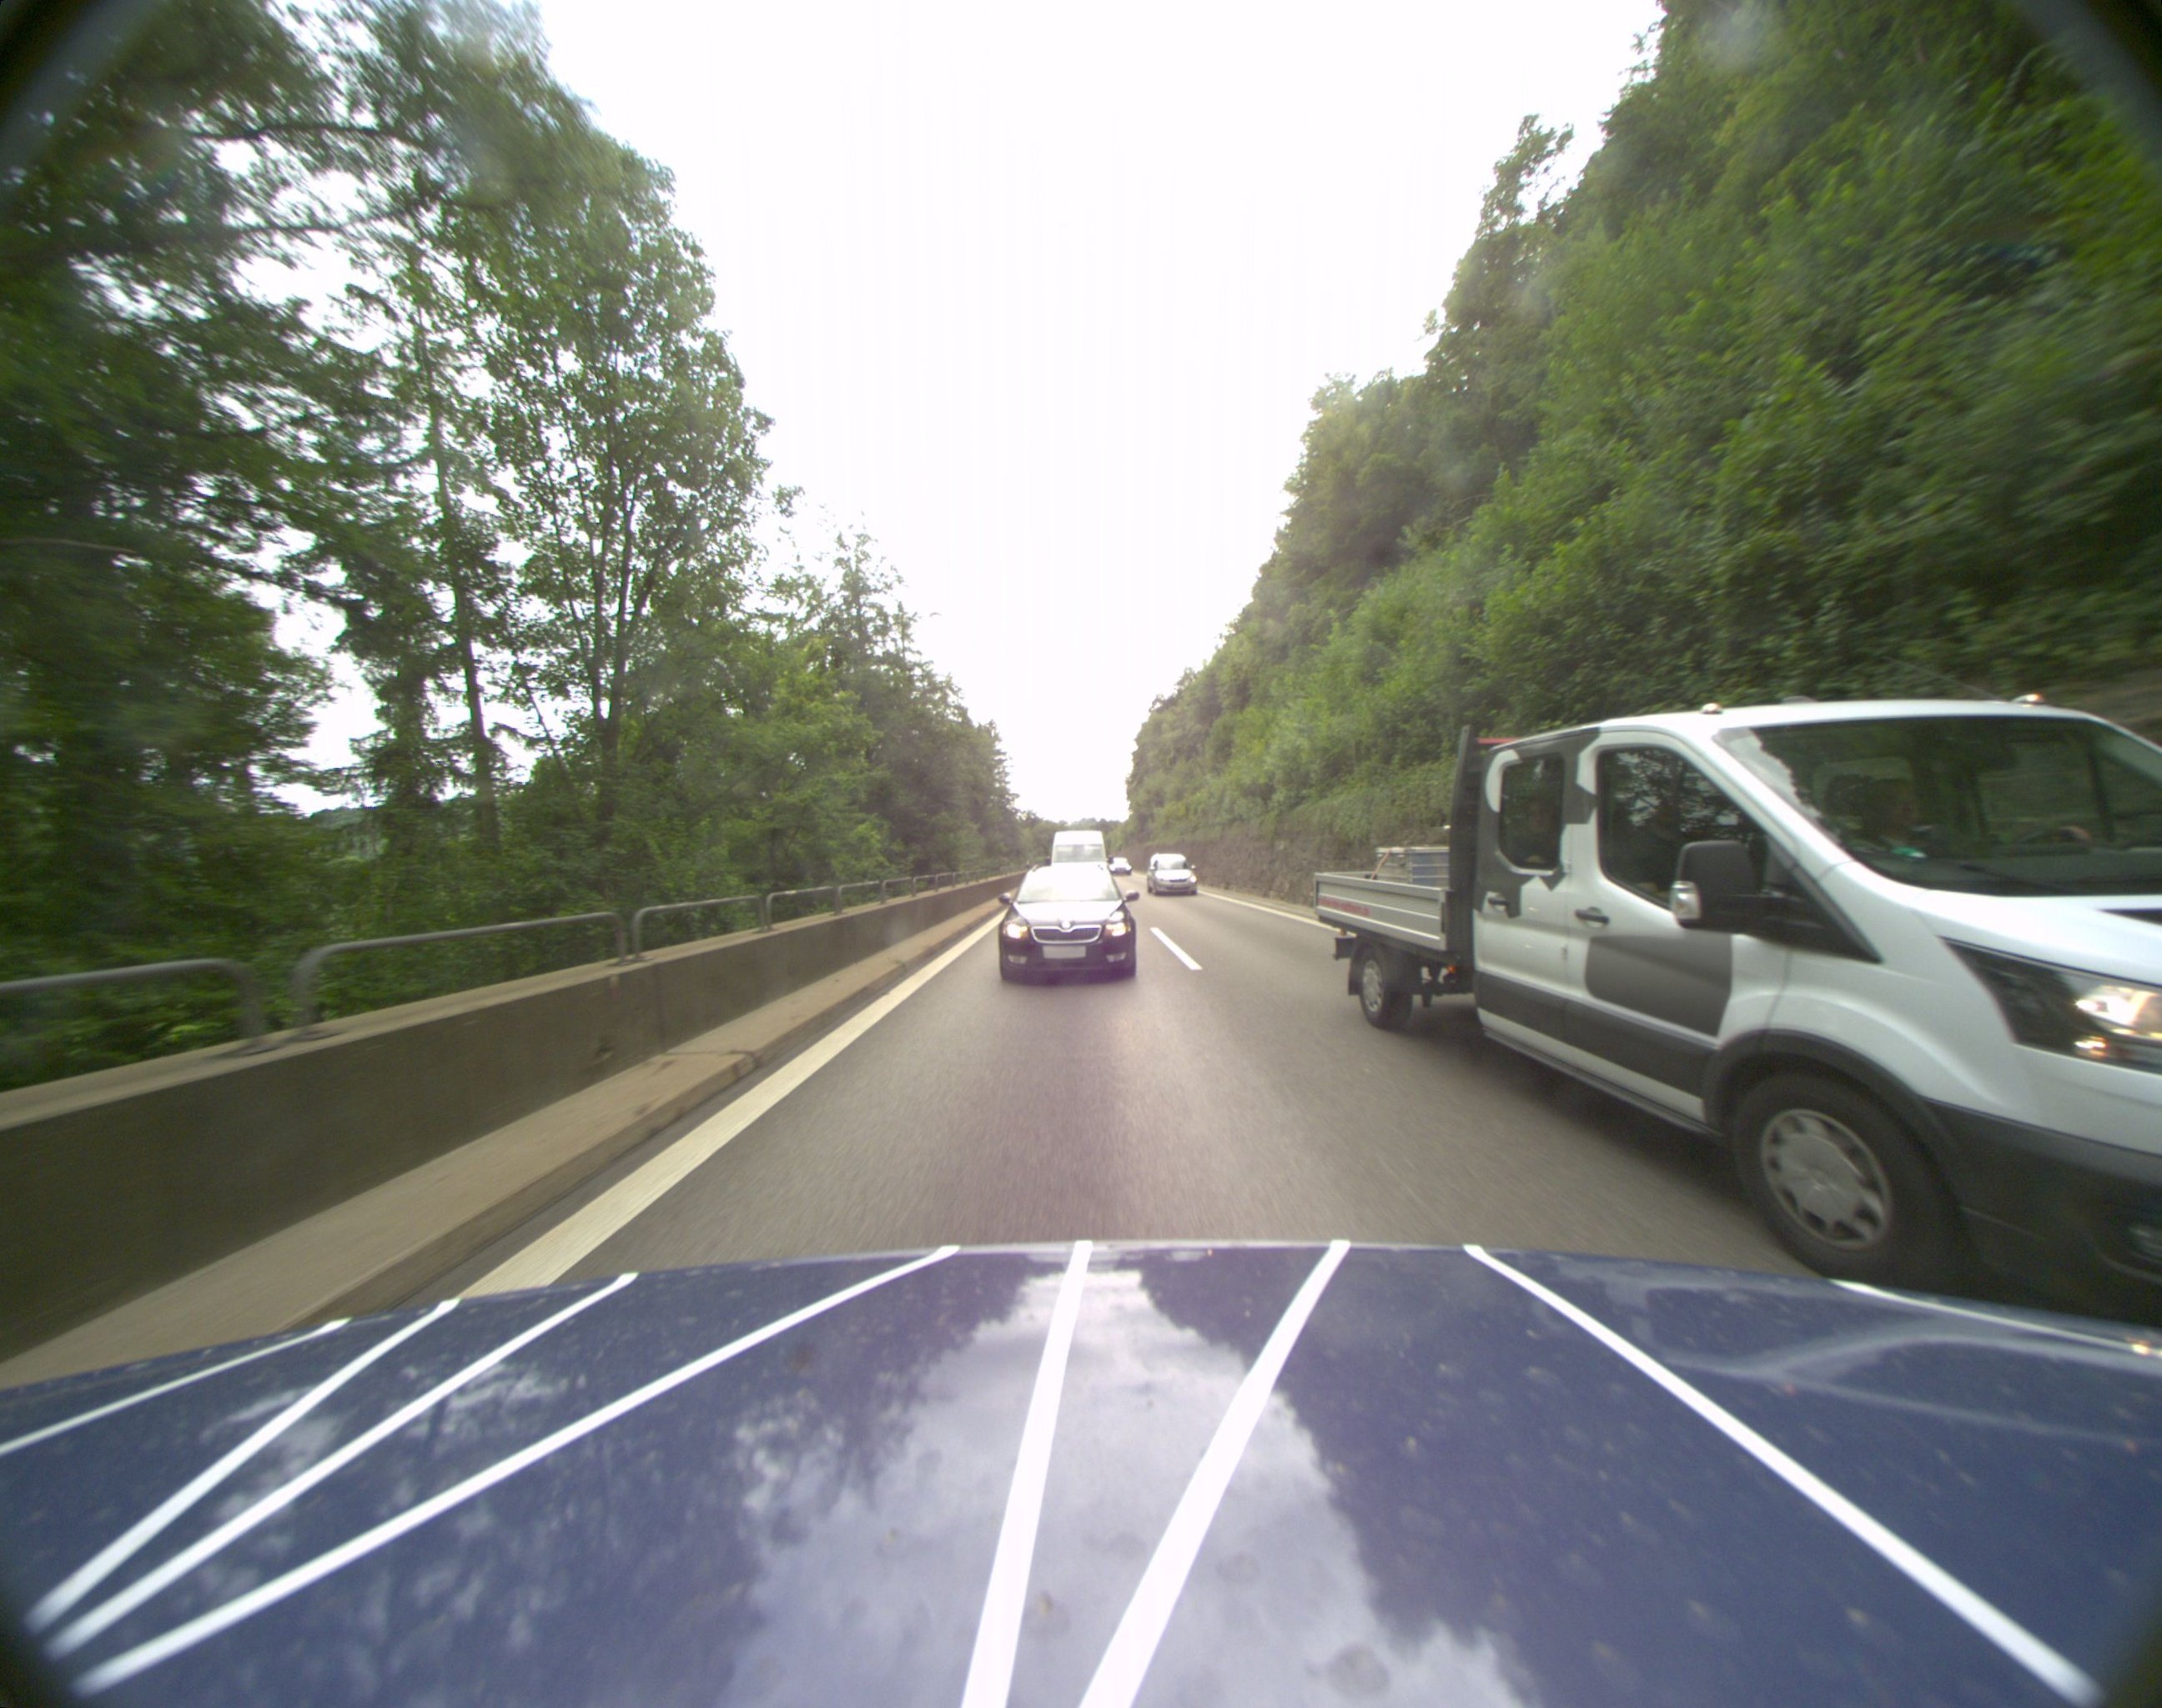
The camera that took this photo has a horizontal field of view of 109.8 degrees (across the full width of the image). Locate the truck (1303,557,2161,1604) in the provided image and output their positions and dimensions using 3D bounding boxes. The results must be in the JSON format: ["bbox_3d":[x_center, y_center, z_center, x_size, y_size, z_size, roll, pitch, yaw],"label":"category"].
[{"bbox_3d":[3.316,0.475,4.502,1.998,2.266,6.585,-2,0,0],"label":"truck"}]

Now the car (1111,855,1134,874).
[{"bbox_3d":[3.521,0.870,65.204,1.711,1.568,4.602,-2,0,0],"label":"car"}]

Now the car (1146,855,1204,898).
[{"bbox_3d":[3.738,0.846,30.917,1.711,1.568,4.602,-2,0,0],"label":"car"}]

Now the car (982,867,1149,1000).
[{"bbox_3d":[-0.275,0.983,11.828,1.913,1.391,5.695,-3,0,-2],"label":"car"}]

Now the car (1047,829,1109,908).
[{"bbox_3d":[0.005,0.448,27.767,1.998,2.550,5.918,-1,1,2],"label":"car"}]
